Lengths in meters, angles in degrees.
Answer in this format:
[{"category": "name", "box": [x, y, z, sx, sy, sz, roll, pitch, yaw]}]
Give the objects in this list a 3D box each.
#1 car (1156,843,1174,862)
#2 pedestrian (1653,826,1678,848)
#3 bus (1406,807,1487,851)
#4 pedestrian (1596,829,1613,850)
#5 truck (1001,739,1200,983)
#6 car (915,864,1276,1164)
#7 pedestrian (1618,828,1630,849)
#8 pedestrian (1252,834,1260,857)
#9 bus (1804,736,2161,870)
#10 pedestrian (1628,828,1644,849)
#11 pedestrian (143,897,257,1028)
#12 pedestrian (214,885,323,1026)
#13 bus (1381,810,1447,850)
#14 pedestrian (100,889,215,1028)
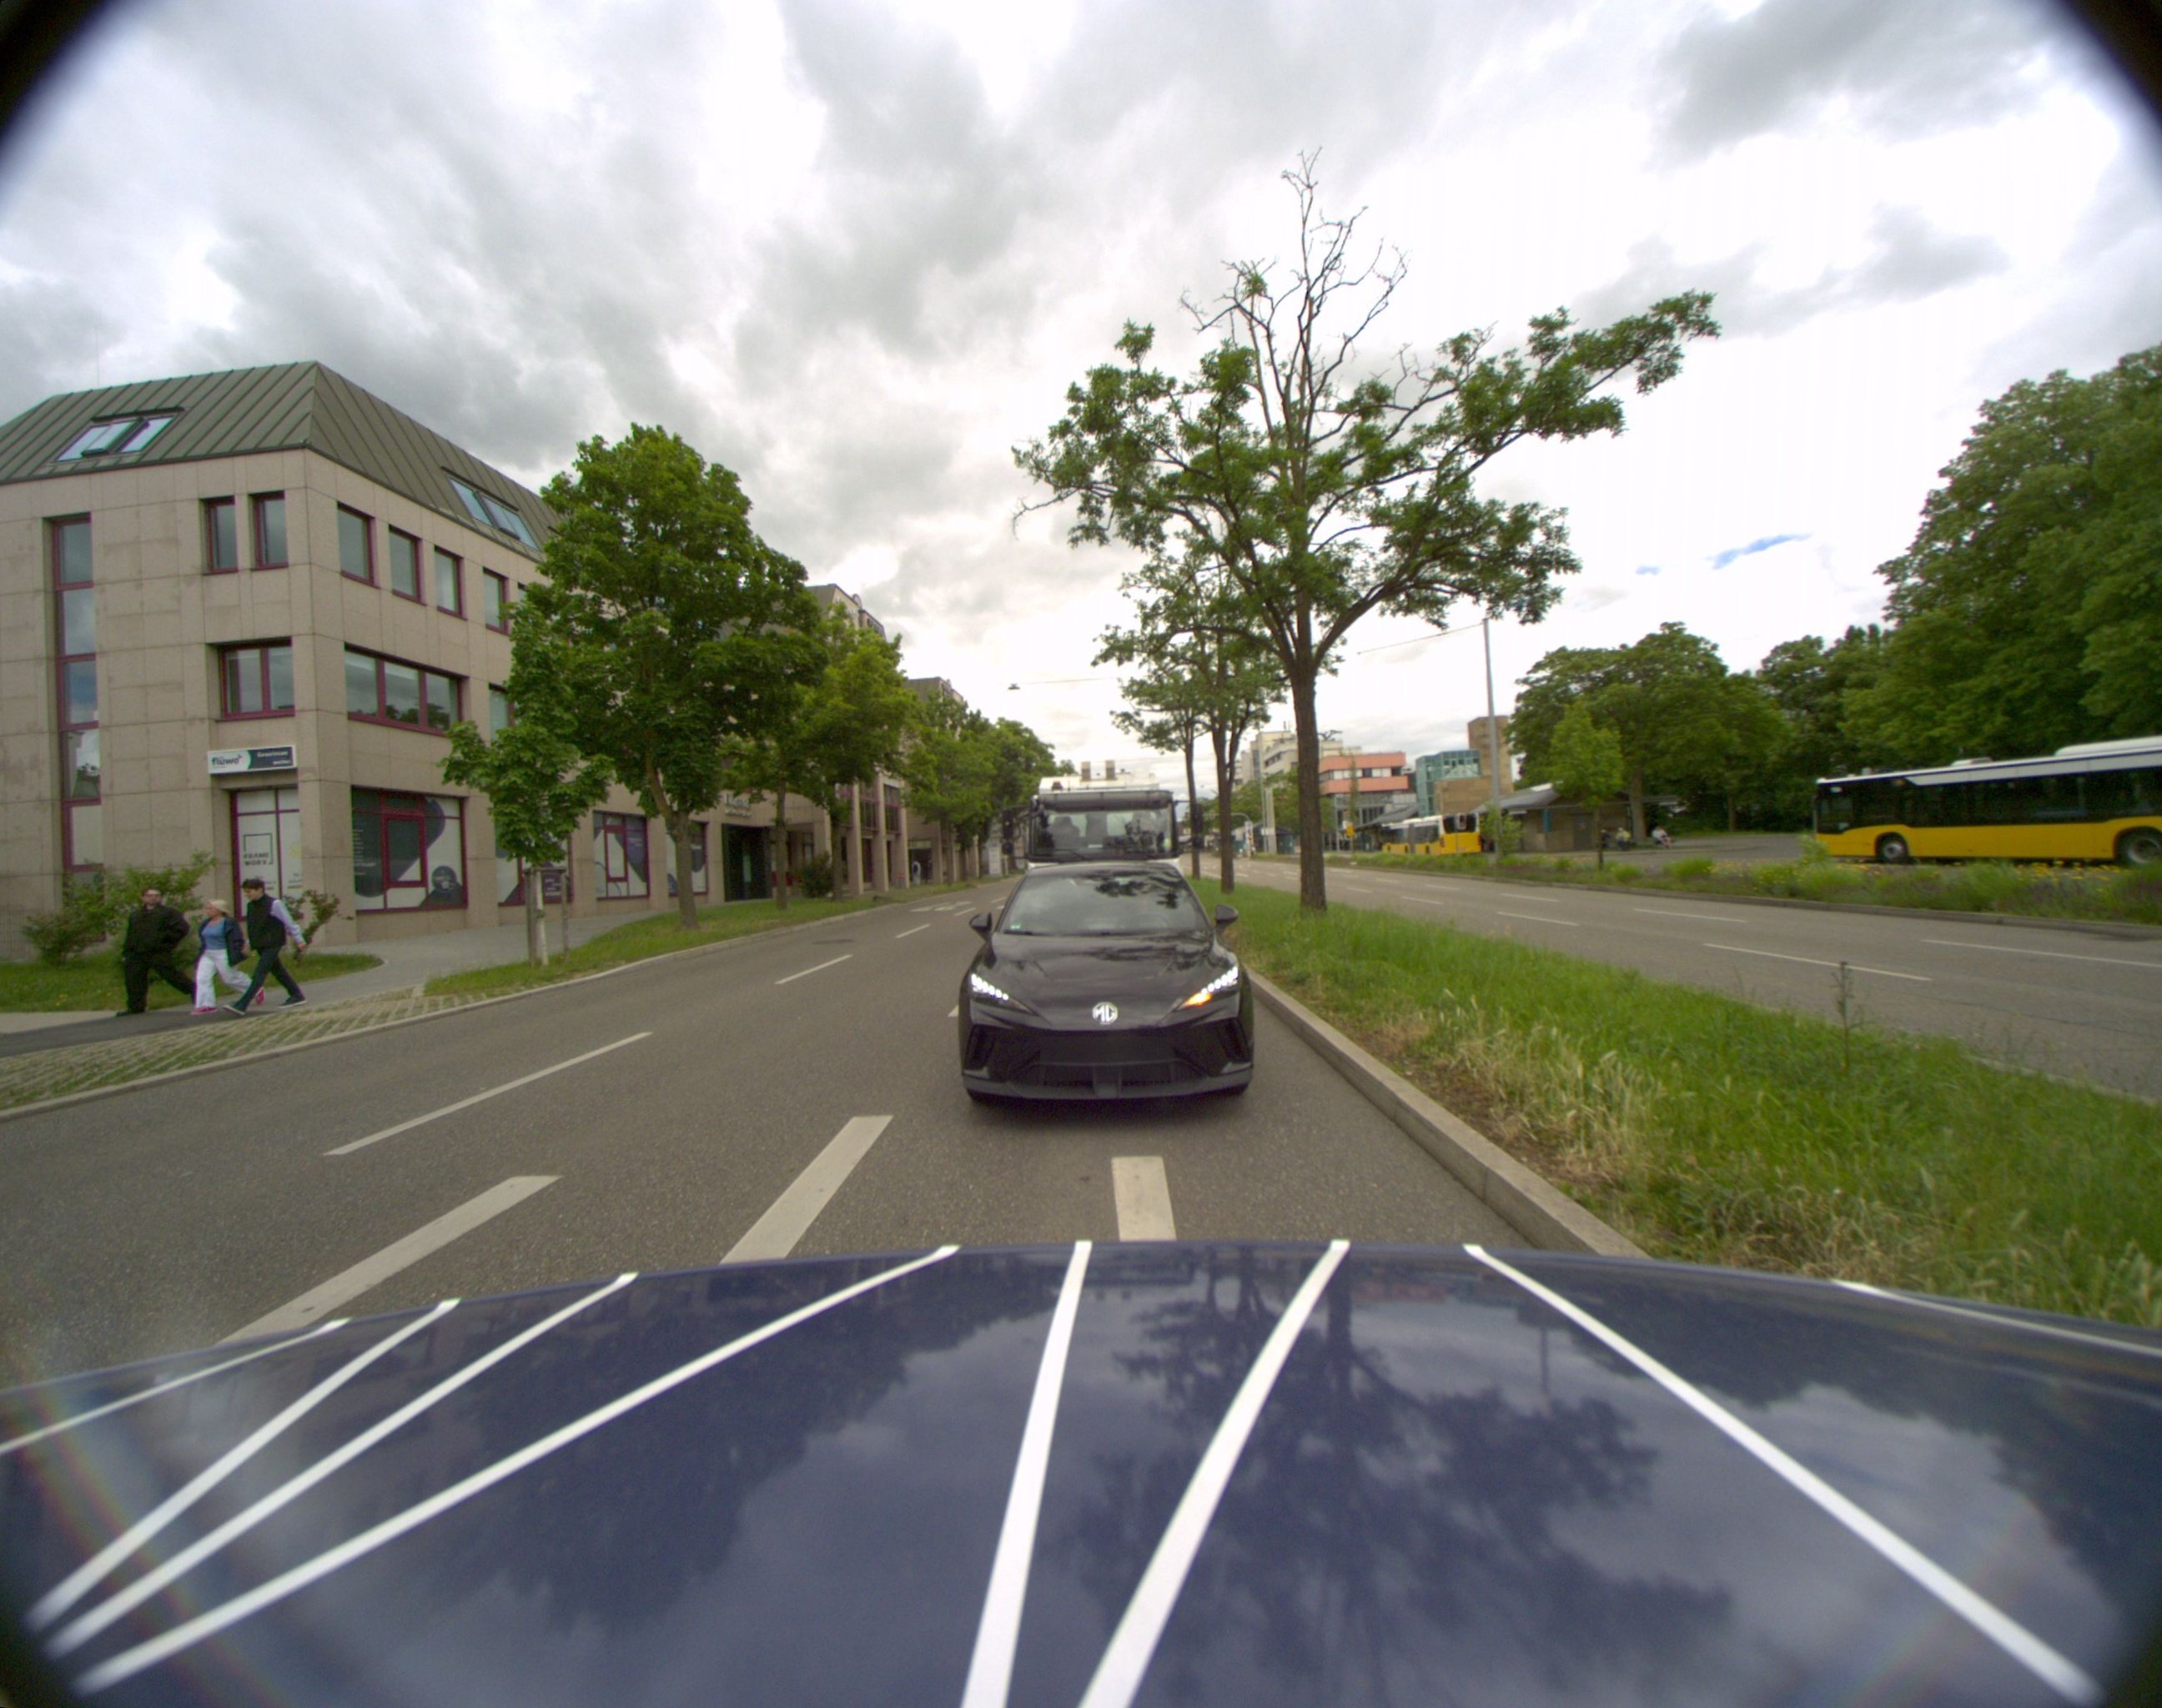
[{"category": "car", "box": [9.512, -0.174, 86.245, 1.726, 2.002, 4.001, -3, 0, 3]}, {"category": "pedestrian", "box": [32.048, -0.940, 41.675, 0.650, 1.165, 0.925, -2, 1, 1]}, {"category": "bus", "box": [26.224, -1.701, 55.045, 2.887, 2.793, 9.182, -3, 0, 11]}, {"category": "pedestrian", "box": [30.745, -0.854, 44.614, 0.599, 1.155, 0.743, -2, 1, 17]}, {"category": "truck", "box": [0.320, 0.085, 13.938, 2.544, 3.187, 7.368, -3, 0, 1]}, {"category": "car", "box": [0.106, 0.868, 5.976, 1.827, 1.430, 4.000, -3, 0, 1]}, {"category": "pedestrian", "box": [30.346, -0.891, 42.482, 0.367, 1.160, 0.899, -2, 1, 26]}, {"category": "pedestrian", "box": [21.630, -1.044, 94.049, 0.903, 2.772, 1.148, -2, 1, 13]}, {"category": "bus", "box": [25.935, -1.231, 20.938, 2.888, 2.985, 10.397, -3, 0, 6]}, {"category": "pedestrian", "box": [30.830, -0.870, 42.231, 0.598, 1.155, 0.744, -2, 1, 26]}, {"category": "pedestrian", "box": [-11.810, 1.426, 10.206, 0.642, 1.637, 0.677, -3, 1, 1]}, {"category": "pedestrian", "box": [-11.012, 1.349, 10.316, 0.642, 1.795, 0.677, -3, 1, 1]}, {"category": "bus", "box": [27.749, -1.903, 63.735, 2.887, 2.985, 9.182, -3, 0, 10]}, {"category": "pedestrian", "box": [-12.671, 1.410, 10.446, 0.642, 1.795, 0.677, -3, 1, 1]}]
